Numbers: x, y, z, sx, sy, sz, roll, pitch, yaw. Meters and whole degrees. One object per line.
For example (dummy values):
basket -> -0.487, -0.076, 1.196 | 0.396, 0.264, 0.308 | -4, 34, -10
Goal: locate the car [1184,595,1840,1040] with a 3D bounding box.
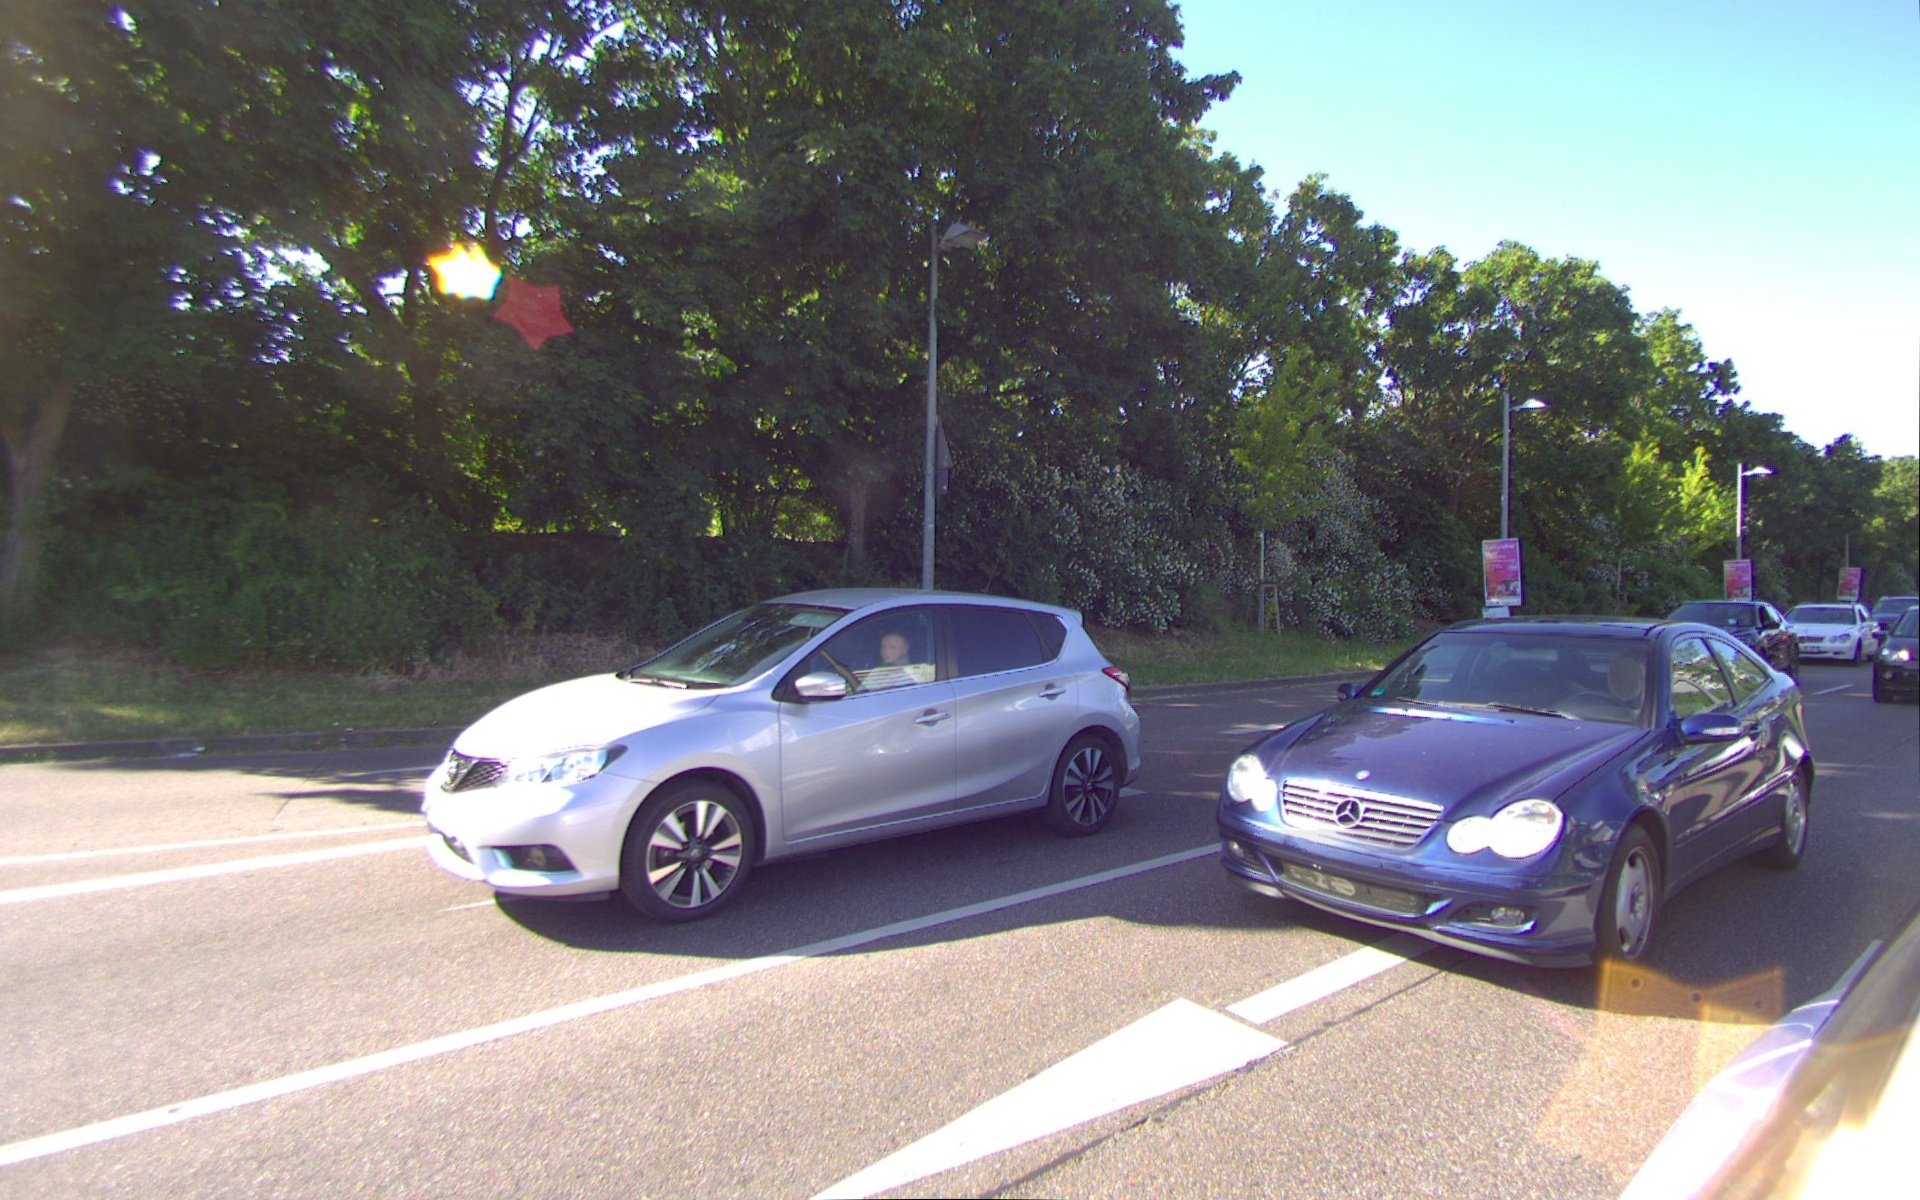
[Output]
car -> 3.095, 0.706, 5.293 | 3.979, 1.437, 1.722 | 0, 1, -41

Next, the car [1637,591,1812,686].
car -> 13.763, 0.600, 18.147 | 3.894, 1.512, 1.713 | 0, 1, -40

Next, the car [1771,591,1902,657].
car -> 21.227, 0.513, 24.463 | 4.309, 1.454, 1.748 | -1, 1, -40

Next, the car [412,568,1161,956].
car -> -0.796, 0.637, 5.982 | 4.063, 1.536, 1.725 | 0, 0, -39

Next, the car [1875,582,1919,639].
car -> 30.210, 0.314, 31.749 | 3.930, 1.682, 1.748 | 0, 1, -41

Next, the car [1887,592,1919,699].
car -> 15.303, 0.639, 15.233 | 3.393, 1.513, 1.620 | -1, 0, -41
